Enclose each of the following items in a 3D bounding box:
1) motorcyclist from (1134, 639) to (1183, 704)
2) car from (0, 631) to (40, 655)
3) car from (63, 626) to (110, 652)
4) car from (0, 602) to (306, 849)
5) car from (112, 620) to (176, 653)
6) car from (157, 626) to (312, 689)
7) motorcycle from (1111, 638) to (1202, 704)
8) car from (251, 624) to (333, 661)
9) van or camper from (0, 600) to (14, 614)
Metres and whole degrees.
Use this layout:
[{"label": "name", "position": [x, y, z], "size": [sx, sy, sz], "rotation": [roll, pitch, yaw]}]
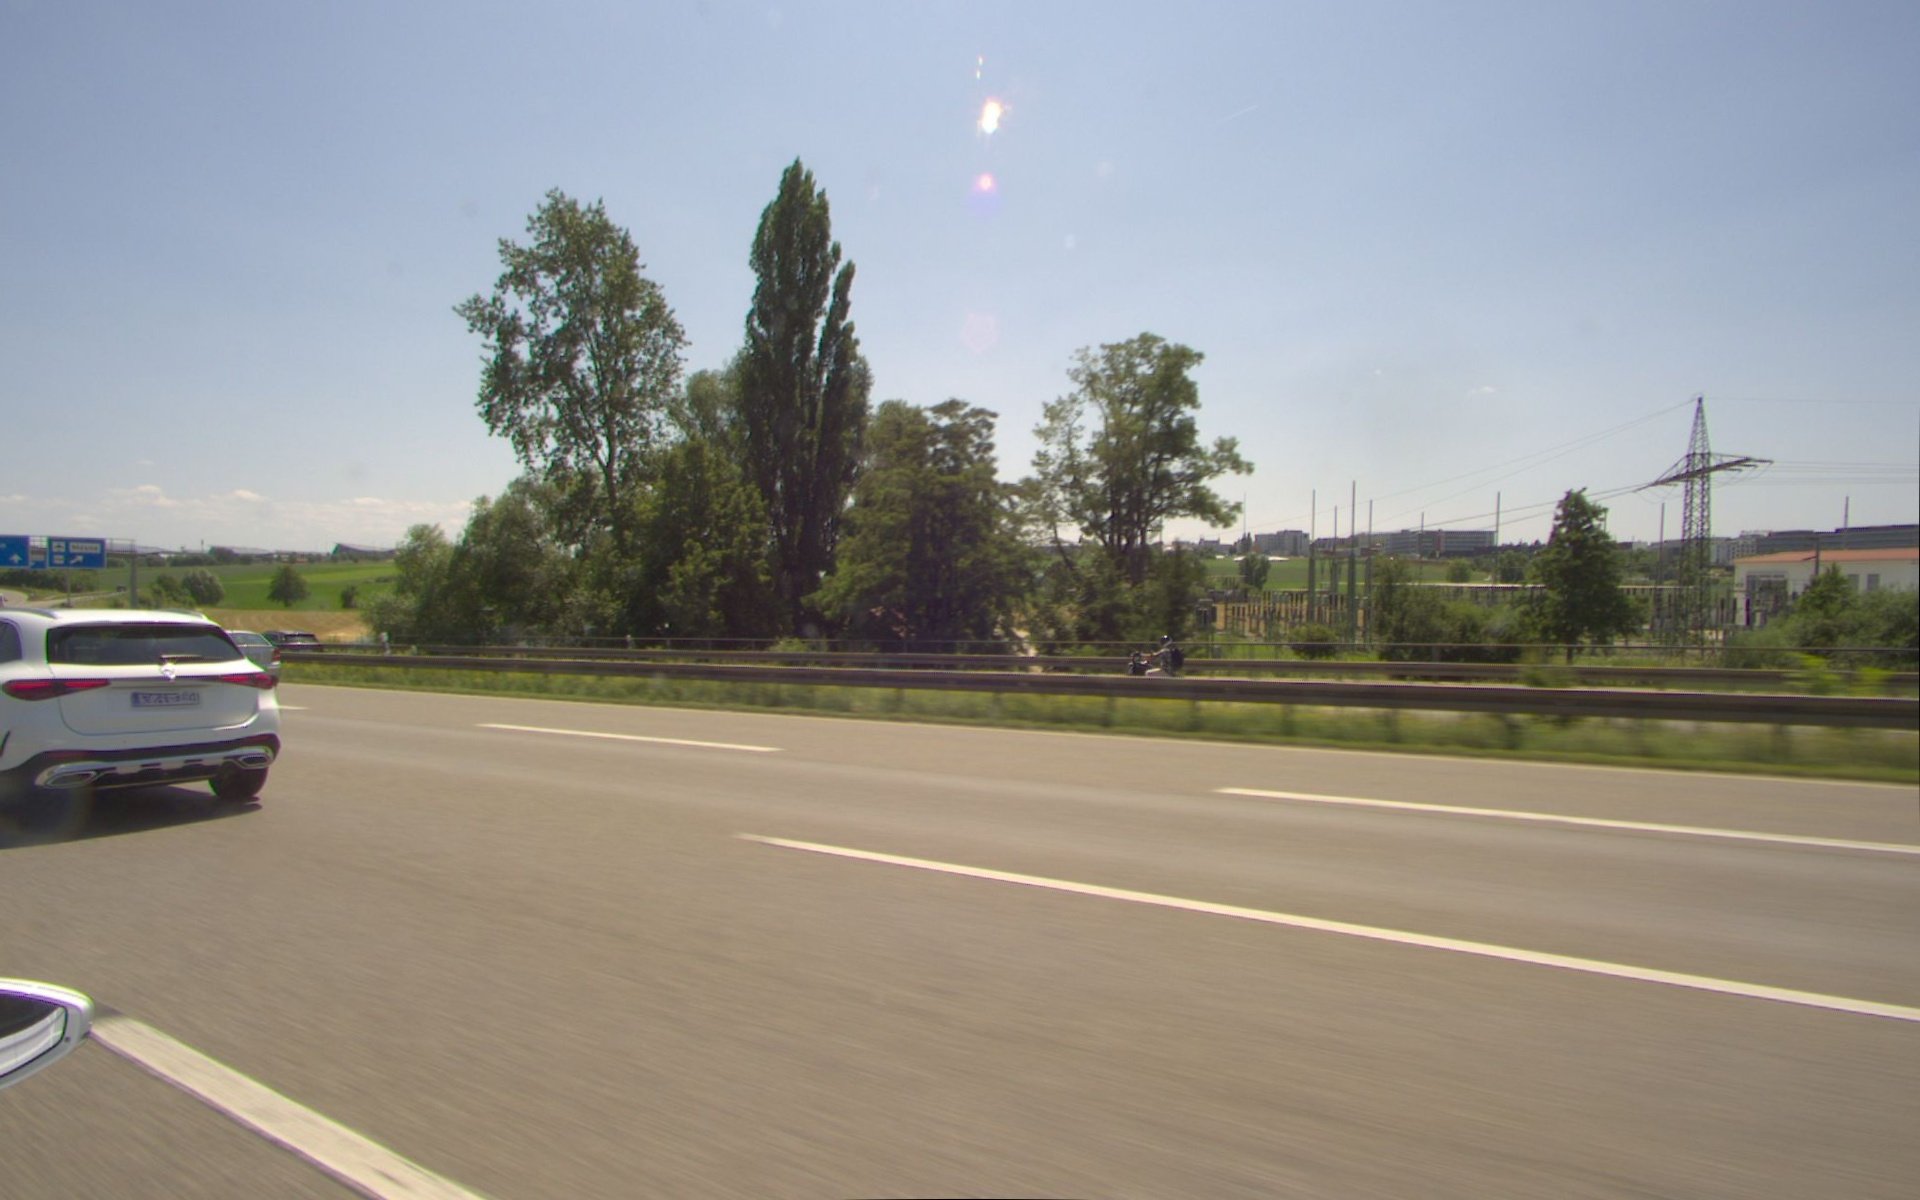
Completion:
[{"label": "motorcyclist", "position": [4.366, 1.564, 22.019], "size": [0.866, 1.384, 0.667], "rotation": [-1, -1, 32]}, {"label": "car", "position": [-66.985, 3.006, 70.775], "size": [3.944, 1.616, 1.990], "rotation": [-1, -2, 33]}, {"label": "car", "position": [-68.159, 3.038, 78.118], "size": [4.125, 1.948, 1.933], "rotation": [-1, -2, 37]}, {"label": "car", "position": [-8.060, 0.910, 8.892], "size": [4.927, 1.668, 1.895], "rotation": [-1, -1, 32]}, {"label": "car", "position": [-50.340, 2.227, 61.736], "size": [4.121, 1.948, 1.935], "rotation": [-1, -1, 33]}, {"label": "car", "position": [-18.390, 1.402, 25.321], "size": [4.783, 1.456, 1.781], "rotation": [-1, -2, 36]}, {"label": "motorcycle", "position": [4.322, 1.528, 22.065], "size": [1.843, 1.384, 0.758], "rotation": [-1, -1, 33]}, {"label": "car", "position": [-29.847, 1.862, 44.718], "size": [4.072, 1.595, 1.695], "rotation": [-1, -2, 35]}, {"label": "van or camper", "position": [-141.323, 1.033, 147.116], "size": [4.398, 2.039, 2.524], "rotation": [-1, -2, 33]}]
